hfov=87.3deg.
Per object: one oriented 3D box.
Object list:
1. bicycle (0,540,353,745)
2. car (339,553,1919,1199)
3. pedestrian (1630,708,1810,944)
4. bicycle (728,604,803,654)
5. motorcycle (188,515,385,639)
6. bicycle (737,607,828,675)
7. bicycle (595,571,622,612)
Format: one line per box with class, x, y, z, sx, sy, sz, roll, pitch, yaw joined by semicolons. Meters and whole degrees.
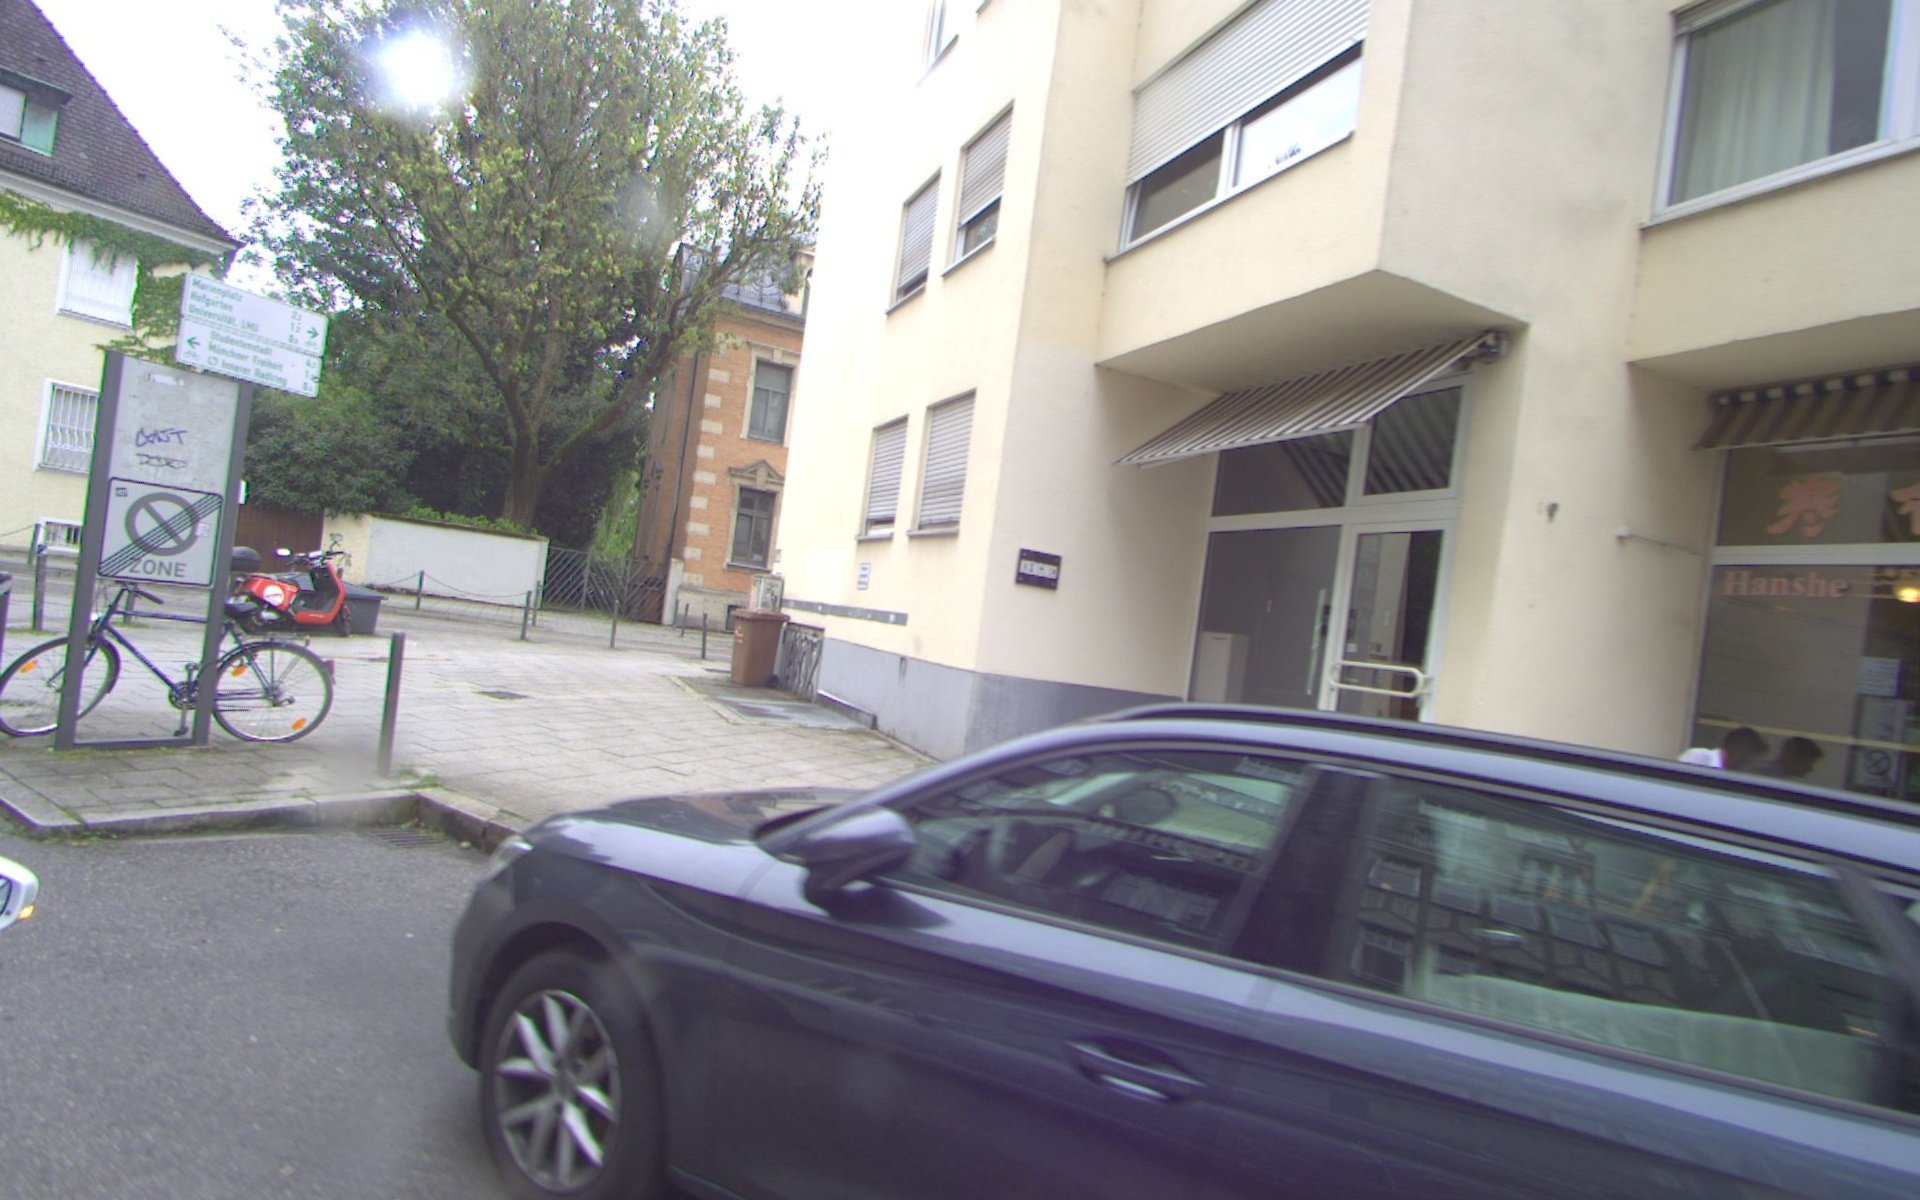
bicycle;-5.041;0.297;6.527;1.779;1.099;0.660;7;1;-31
car;0.755;0.926;2.348;4.533;1.488;1.696;7;-2;30
pedestrian;5.084;1.492;6.754;0.526;1.415;0.669;8;-1;-25
bicycle;-5.077;0.758;26.287;1.738;1.066;0.579;8;-1;-20
motorcycle;-8.732;-0.246;13.185;0.801;1.371;2.087;7;-2;9
bicycle;-3.493;0.792;19.743;1.740;1.078;0.772;6;-2;44
bicycle;-11.461;-0.283;32.790;0.529;1.233;2.071;8;-1;-24
